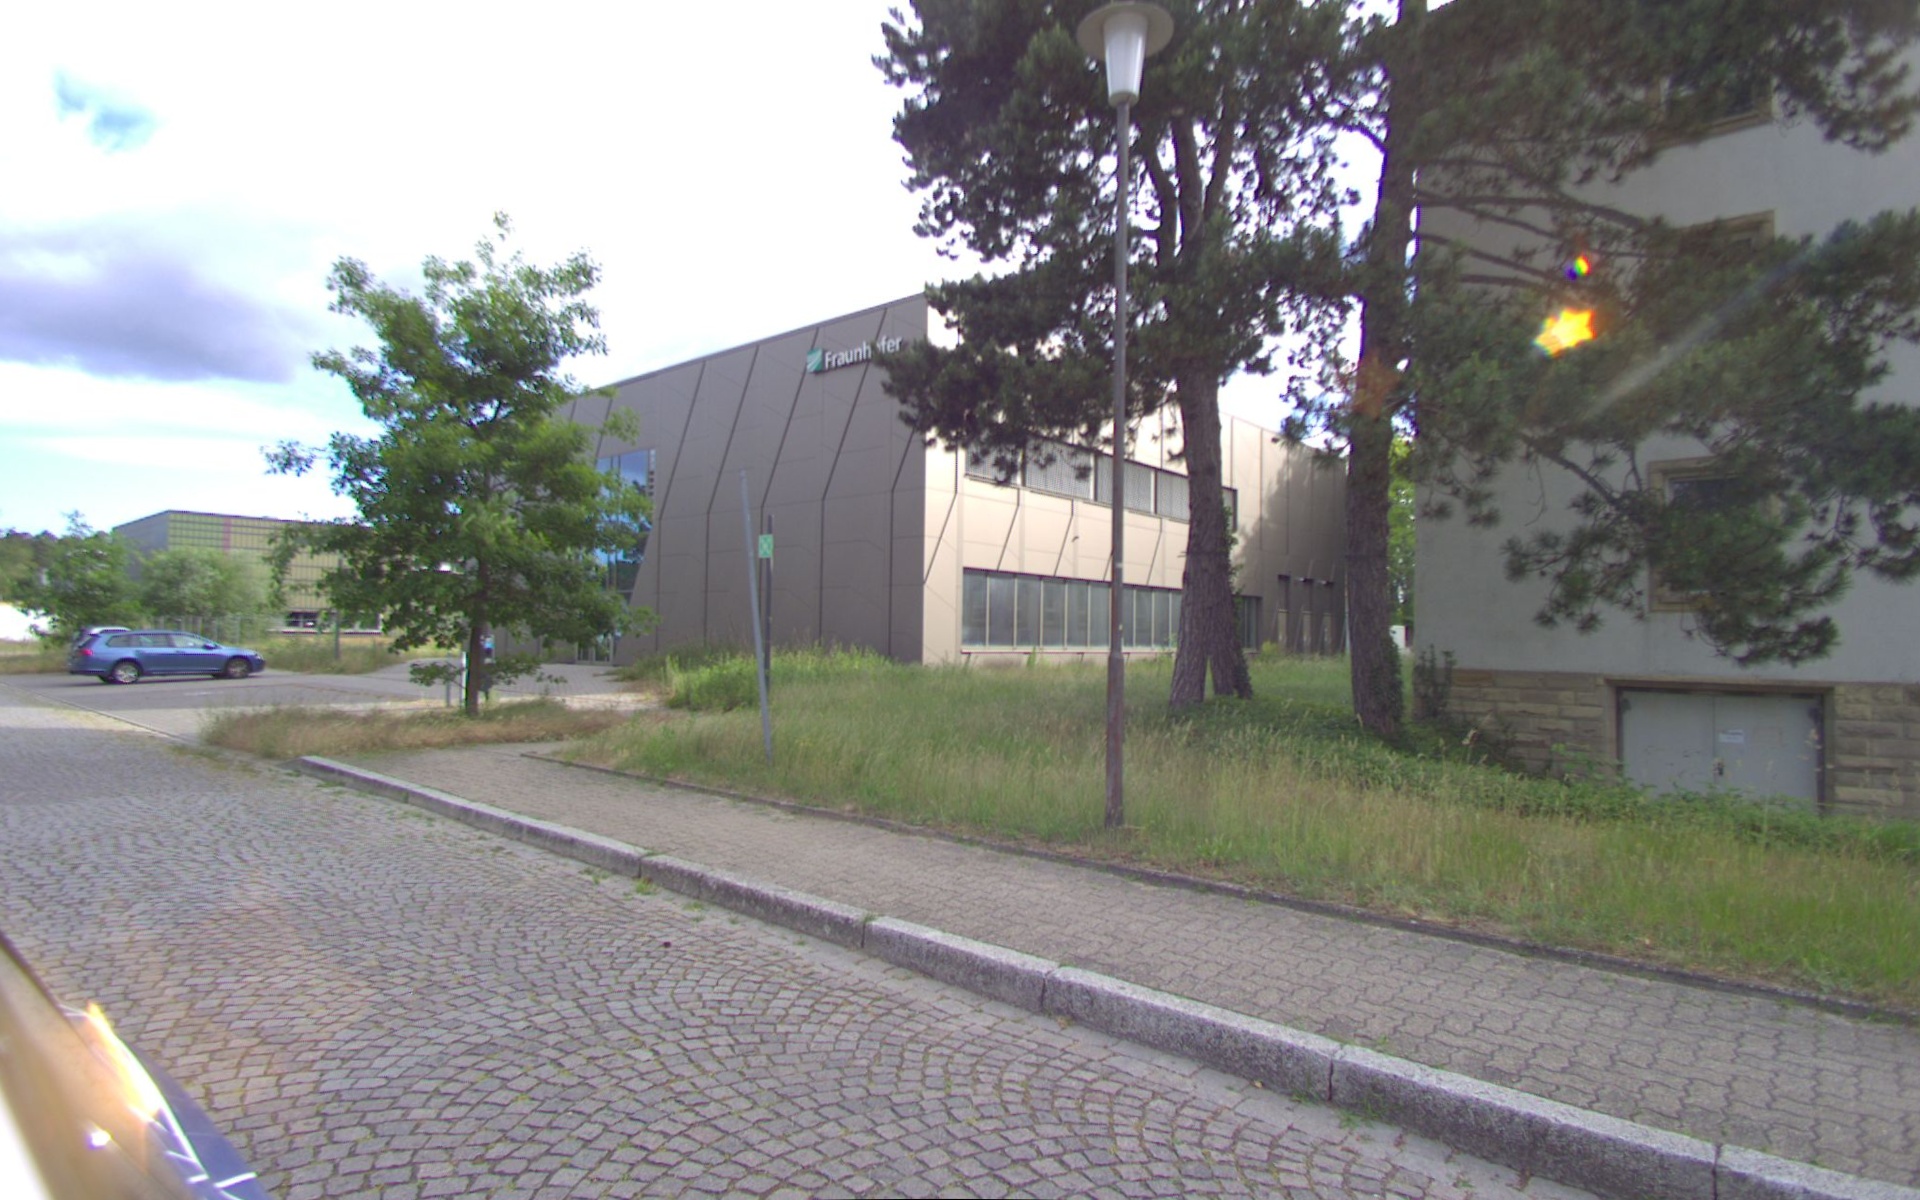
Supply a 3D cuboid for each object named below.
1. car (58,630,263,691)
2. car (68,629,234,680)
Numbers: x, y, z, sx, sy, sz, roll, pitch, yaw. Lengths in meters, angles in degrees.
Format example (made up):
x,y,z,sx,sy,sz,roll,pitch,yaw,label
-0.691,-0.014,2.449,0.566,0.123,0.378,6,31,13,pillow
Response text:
x,y,z,sx,sy,sz,roll,pitch,yaw,label
-22.813,1.668,29.012,1.715,1.522,4.350,-1,-1,38,car
-27.615,1.802,34.615,4.339,1.558,1.843,0,-1,-43,car
